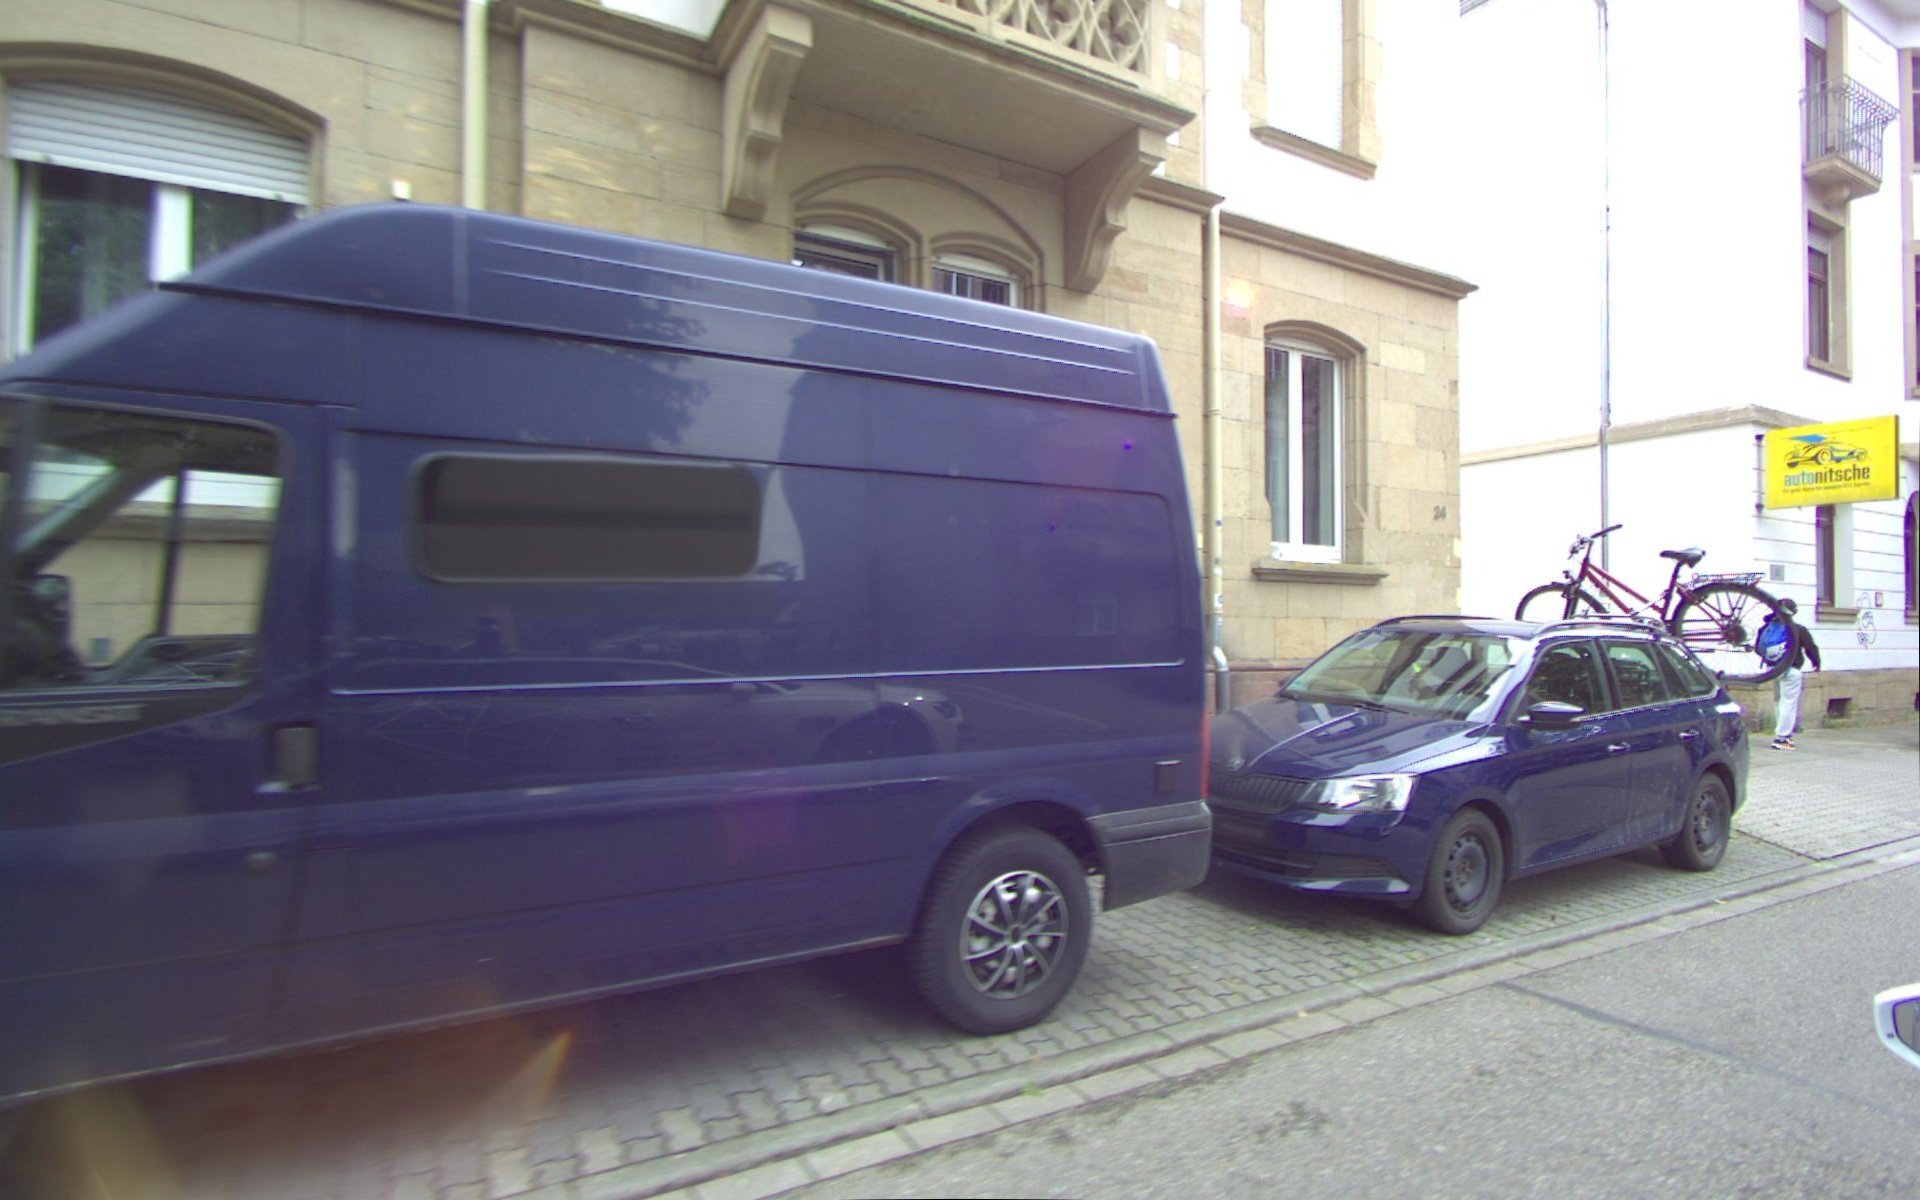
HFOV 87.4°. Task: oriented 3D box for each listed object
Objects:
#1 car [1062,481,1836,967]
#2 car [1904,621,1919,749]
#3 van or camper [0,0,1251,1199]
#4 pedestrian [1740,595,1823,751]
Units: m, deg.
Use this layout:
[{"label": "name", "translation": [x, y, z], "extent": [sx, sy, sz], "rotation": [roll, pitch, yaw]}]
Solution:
[{"label": "car", "translation": [3.197, 0.552, 6.295], "extent": [4.833, 2.040, 1.984], "rotation": [1, 0, -30]}, {"label": "car", "translation": [13.360, 1.032, 12.180], "extent": [3.976, 1.500, 1.781], "rotation": [1, -1, -31]}, {"label": "van or camper", "translation": [-1.662, 0.088, 3.417], "extent": [5.253, 2.687, 1.998], "rotation": [1, 0, -30]}, {"label": "pedestrian", "translation": [9.643, 0.833, 11.795], "extent": [0.648, 1.763, 0.542], "rotation": [1, 1, -32]}]
